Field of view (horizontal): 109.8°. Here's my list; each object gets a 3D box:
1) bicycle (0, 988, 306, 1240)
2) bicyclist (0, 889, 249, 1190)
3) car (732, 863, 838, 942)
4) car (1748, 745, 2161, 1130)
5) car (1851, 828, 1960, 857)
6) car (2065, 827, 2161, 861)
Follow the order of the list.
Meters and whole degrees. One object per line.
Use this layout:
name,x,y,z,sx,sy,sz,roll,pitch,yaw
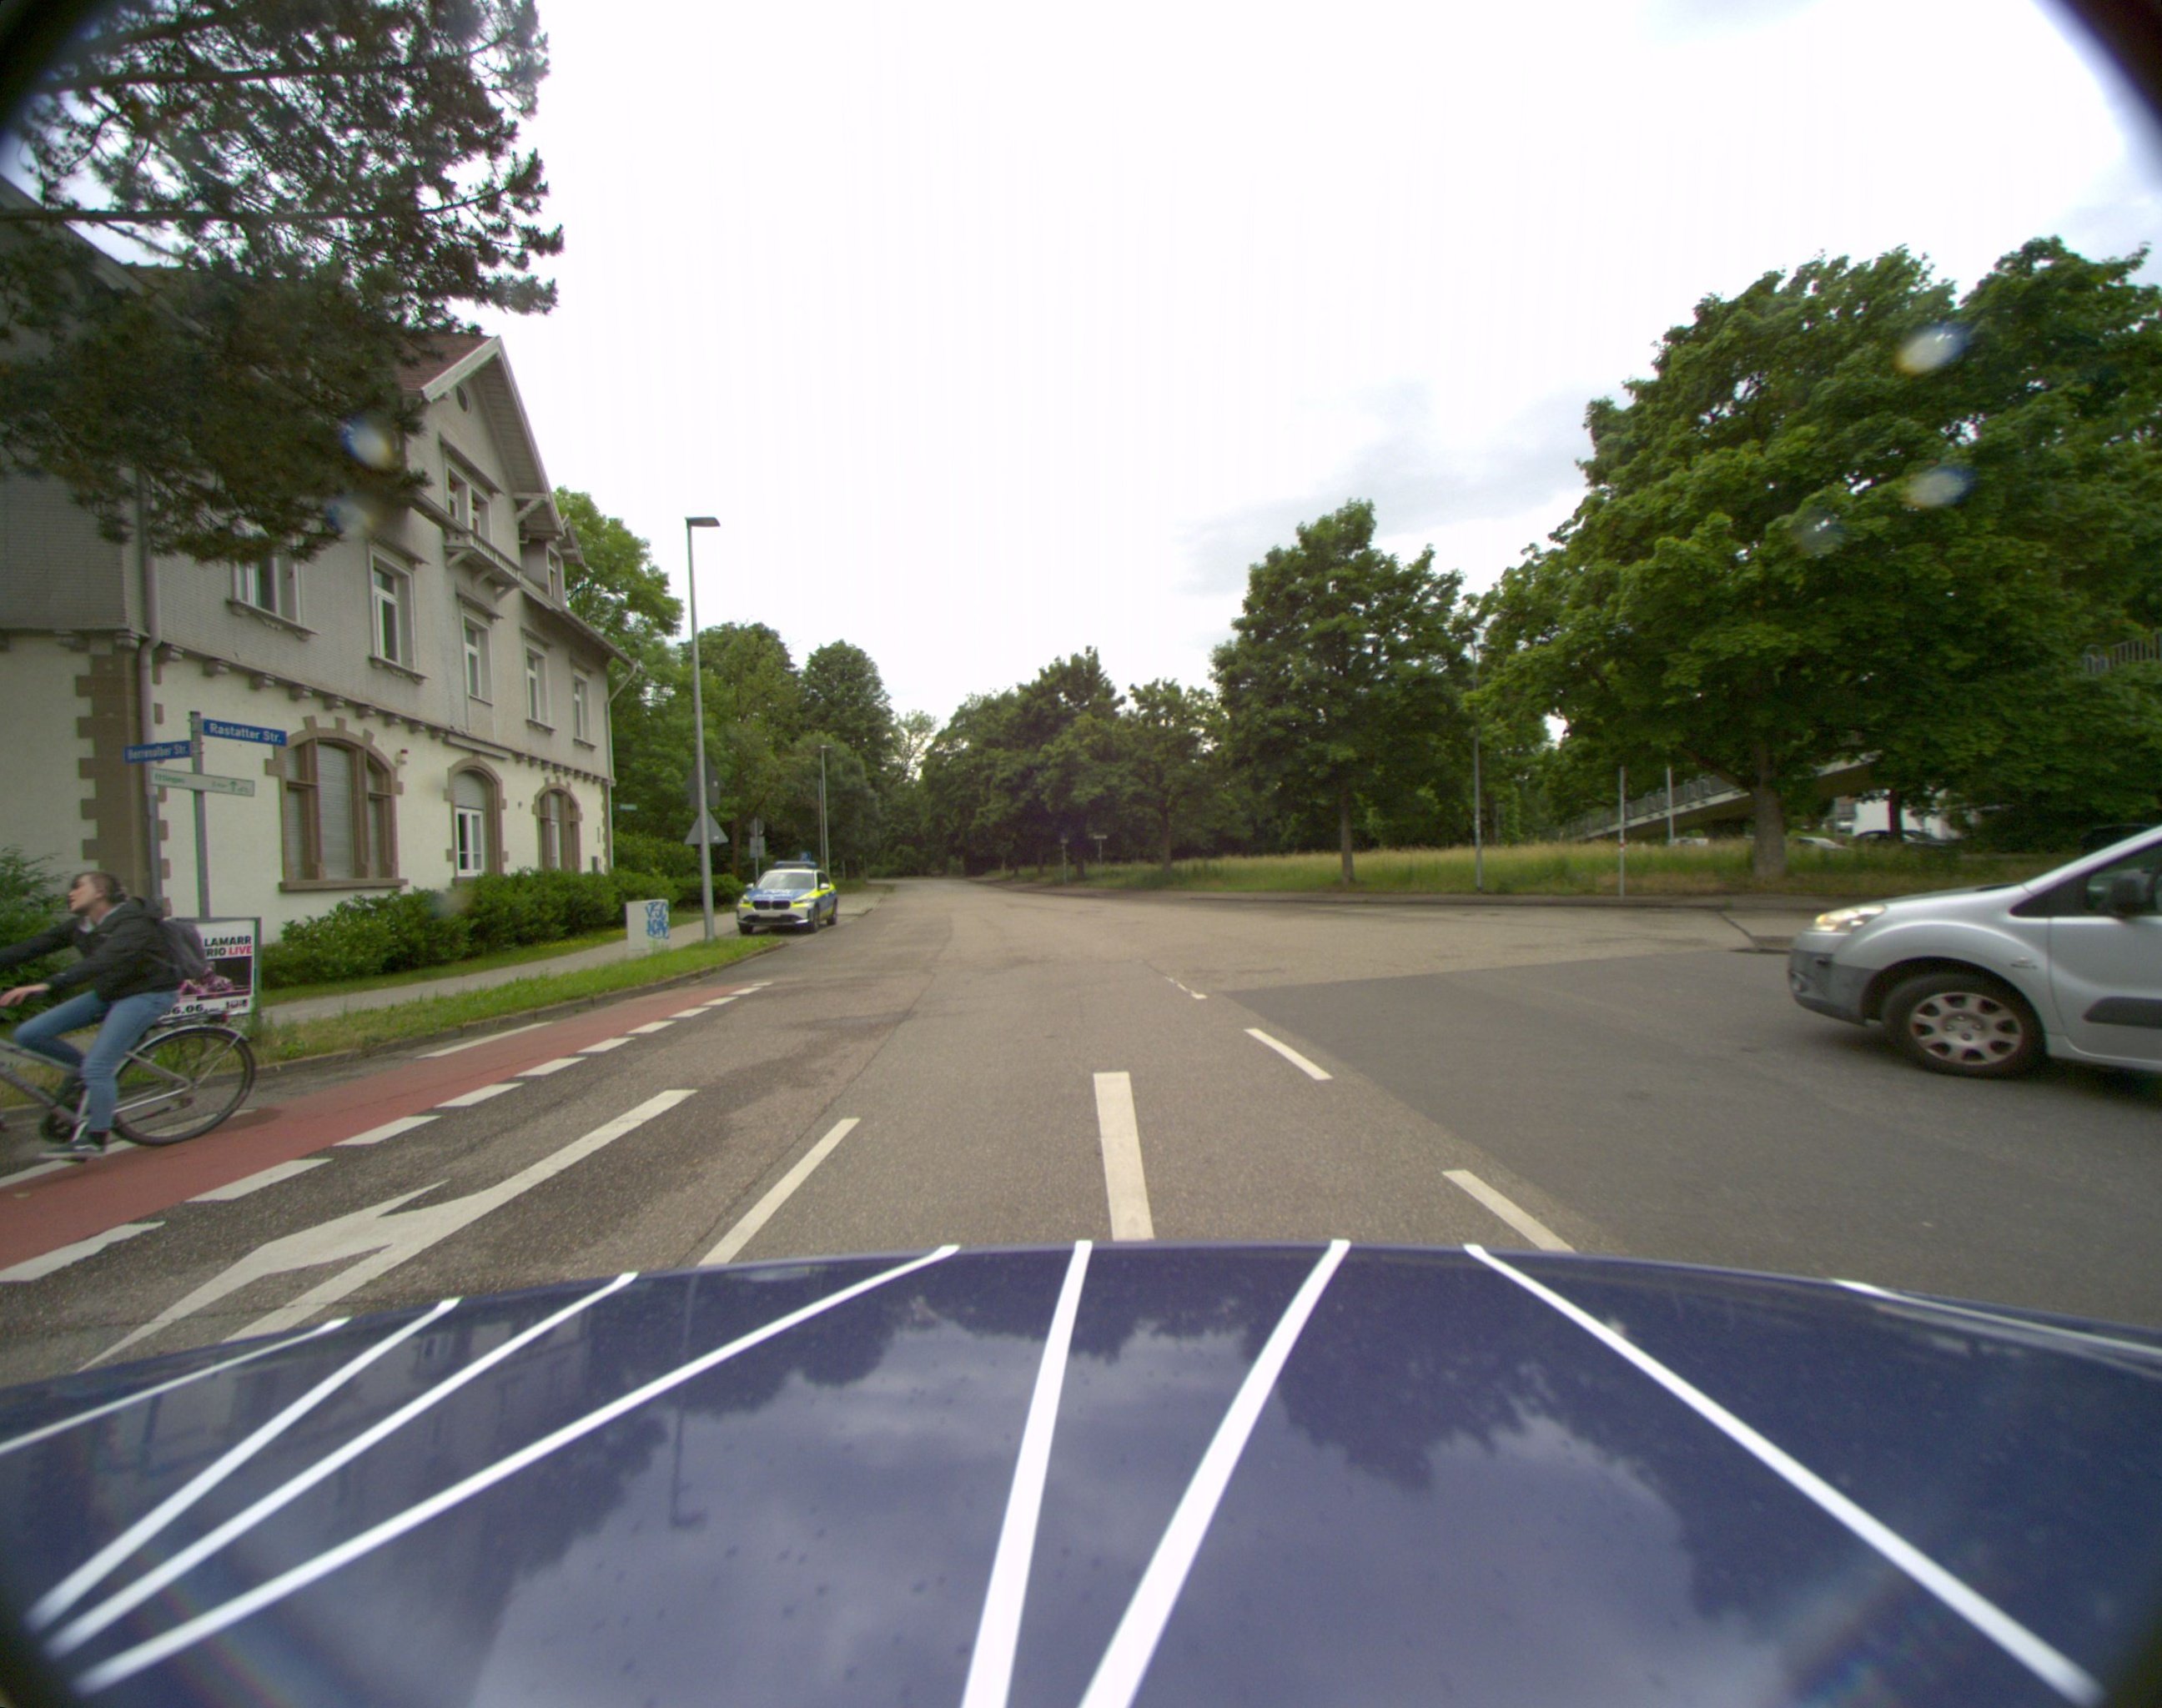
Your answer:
bicycle,-5.548,1.425,4.195,0.383,0.975,2.029,-2,1,1
bicyclist,-5.513,0.953,4.189,0.623,1.416,0.961,-6,1,0
car,-7.618,1.155,19.938,1.937,1.839,3.996,0,0,-12
car,6.297,0.358,3.590,2.097,1.847,4.214,-3,1,-20
car,41.823,-0.574,38.695,1.692,1.343,4.003,-2,0,11
car,40.401,-0.393,28.717,1.692,1.231,4.003,-2,0,11
